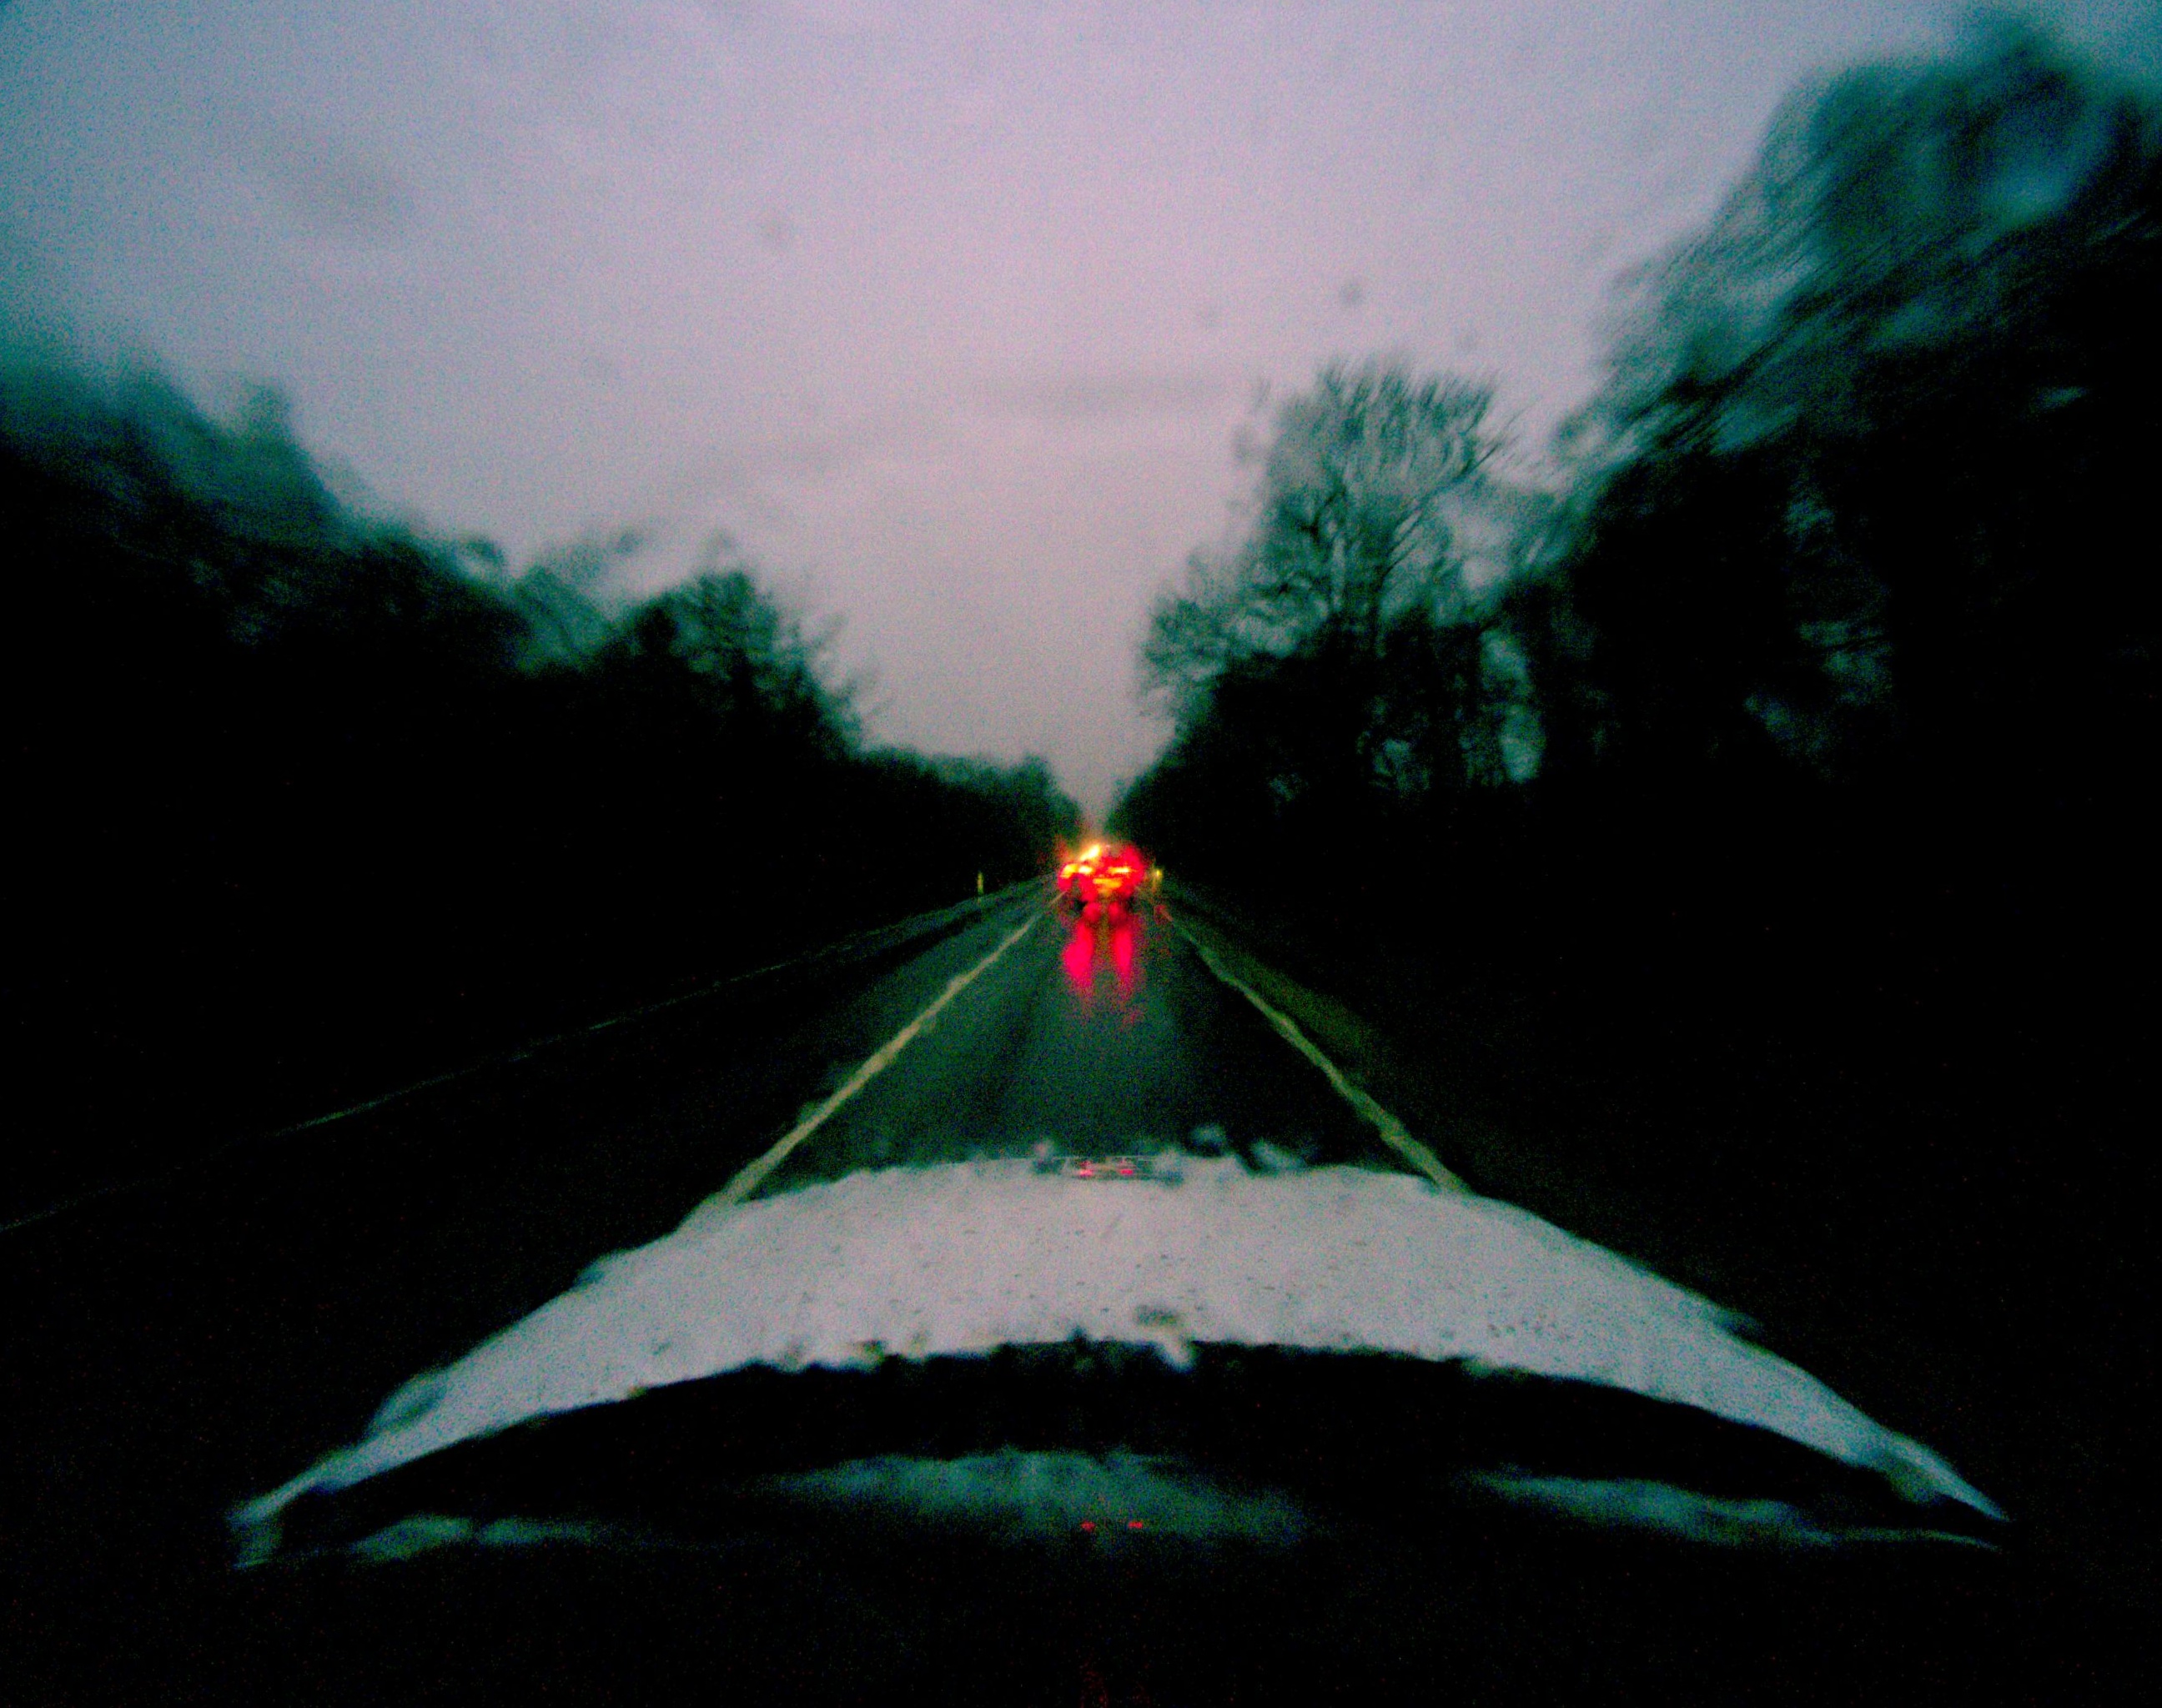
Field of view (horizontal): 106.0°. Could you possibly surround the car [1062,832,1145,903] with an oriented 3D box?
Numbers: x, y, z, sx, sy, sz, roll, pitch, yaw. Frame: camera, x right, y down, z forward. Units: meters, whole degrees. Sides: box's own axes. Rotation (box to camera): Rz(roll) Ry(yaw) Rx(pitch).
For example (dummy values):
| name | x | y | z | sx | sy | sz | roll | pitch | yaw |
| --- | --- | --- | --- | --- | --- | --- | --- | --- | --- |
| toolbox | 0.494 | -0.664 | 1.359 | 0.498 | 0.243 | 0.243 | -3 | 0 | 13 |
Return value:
| name | x | y | z | sx | sy | sz | roll | pitch | yaw |
| --- | --- | --- | --- | --- | --- | --- | --- | --- | --- |
| car | 0.655 | 0.334 | 24.215 | 2.190 | 1.877 | 4.828 | 0 | 0 | 1 |
